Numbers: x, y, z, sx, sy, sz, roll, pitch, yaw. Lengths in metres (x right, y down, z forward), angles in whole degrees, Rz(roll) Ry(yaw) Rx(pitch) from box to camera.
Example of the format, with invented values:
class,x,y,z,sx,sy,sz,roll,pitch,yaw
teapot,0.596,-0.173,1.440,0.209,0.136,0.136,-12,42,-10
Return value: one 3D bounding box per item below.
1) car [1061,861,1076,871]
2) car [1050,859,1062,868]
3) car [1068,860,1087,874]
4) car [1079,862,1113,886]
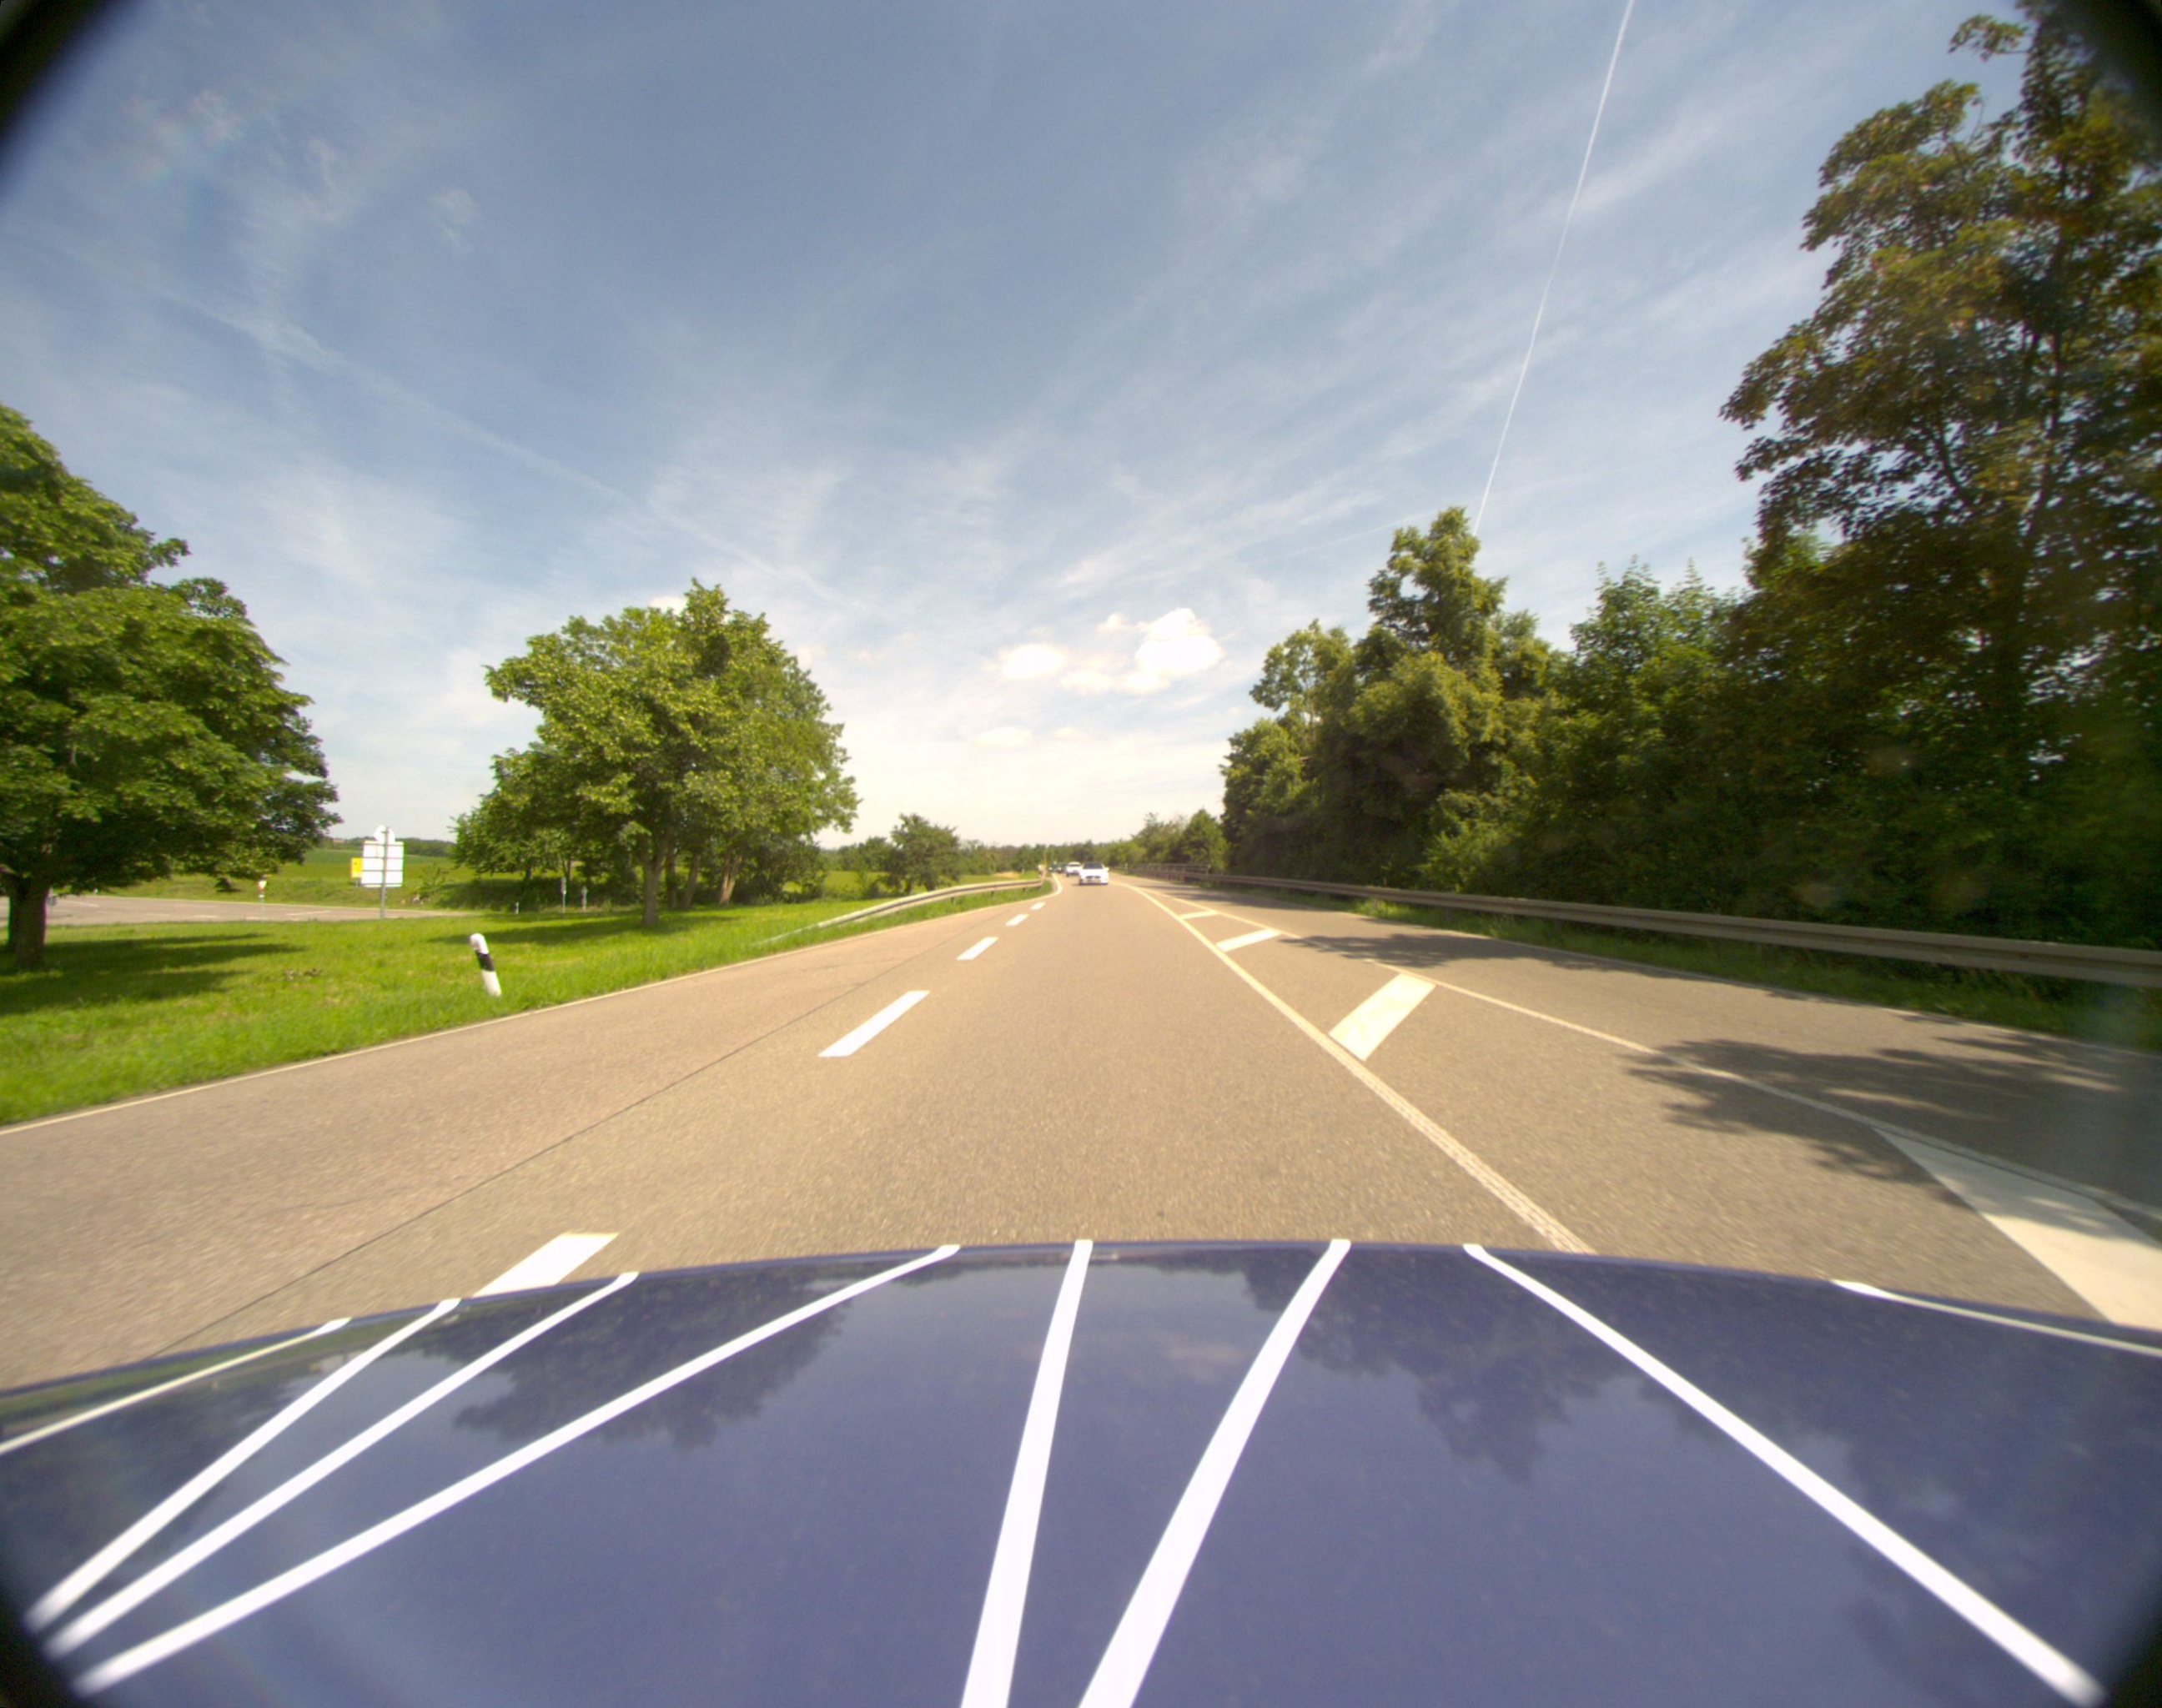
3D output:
class,x,y,z,sx,sy,sz,roll,pitch,yaw
car,-1.800,1.673,105.404,1.930,1.441,4.075,0,0,-4
car,-4.109,1.548,126.164,1.930,1.441,3.999,0,0,-3
car,-0.429,1.347,82.344,1.930,1.441,3.999,0,0,-3
car,0.899,1.212,47.360,1.929,1.441,4.534,-1,-1,-1
